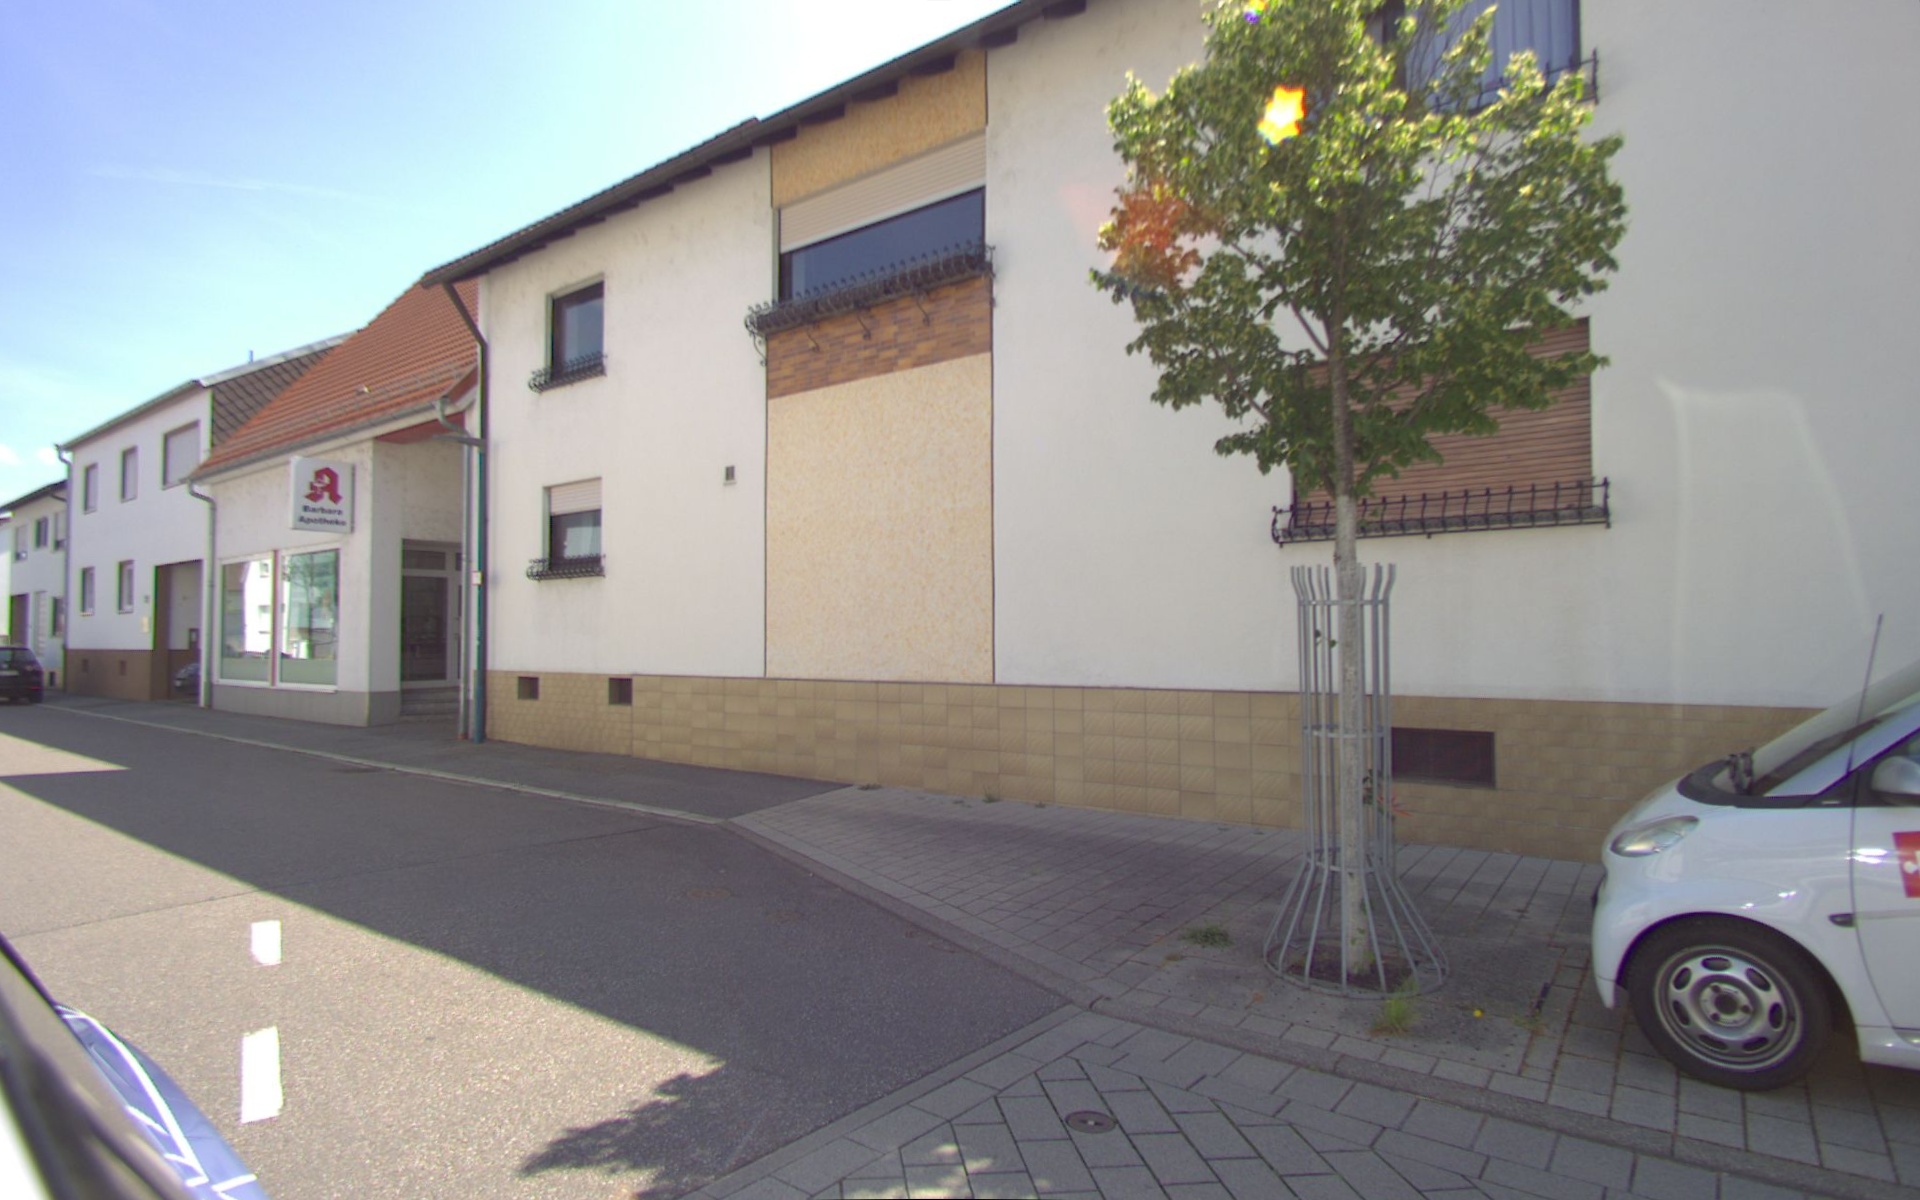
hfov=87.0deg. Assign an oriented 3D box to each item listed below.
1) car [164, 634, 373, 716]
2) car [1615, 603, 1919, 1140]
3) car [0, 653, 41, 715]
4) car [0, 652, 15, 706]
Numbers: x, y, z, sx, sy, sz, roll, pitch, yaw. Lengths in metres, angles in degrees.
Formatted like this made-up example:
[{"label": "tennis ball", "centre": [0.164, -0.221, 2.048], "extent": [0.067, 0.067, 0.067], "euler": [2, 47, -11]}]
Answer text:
[{"label": "car", "centre": [-17.160, 1.795, 25.239], "extent": [1.812, 1.731, 3.948], "euler": [-3, -1, 39]}, {"label": "car", "centre": [3.853, 0.788, 3.164], "extent": [2.820, 1.573, 1.556], "euler": [-3, -1, 40]}, {"label": "car", "centre": [-26.167, 2.211, 26.976], "extent": [3.947, 1.578, 1.731], "euler": [-3, -4, 37]}, {"label": "car", "centre": [-31.178, 2.470, 31.643], "extent": [4.115, 1.630, 1.737], "euler": [-3, -4, 38]}]
